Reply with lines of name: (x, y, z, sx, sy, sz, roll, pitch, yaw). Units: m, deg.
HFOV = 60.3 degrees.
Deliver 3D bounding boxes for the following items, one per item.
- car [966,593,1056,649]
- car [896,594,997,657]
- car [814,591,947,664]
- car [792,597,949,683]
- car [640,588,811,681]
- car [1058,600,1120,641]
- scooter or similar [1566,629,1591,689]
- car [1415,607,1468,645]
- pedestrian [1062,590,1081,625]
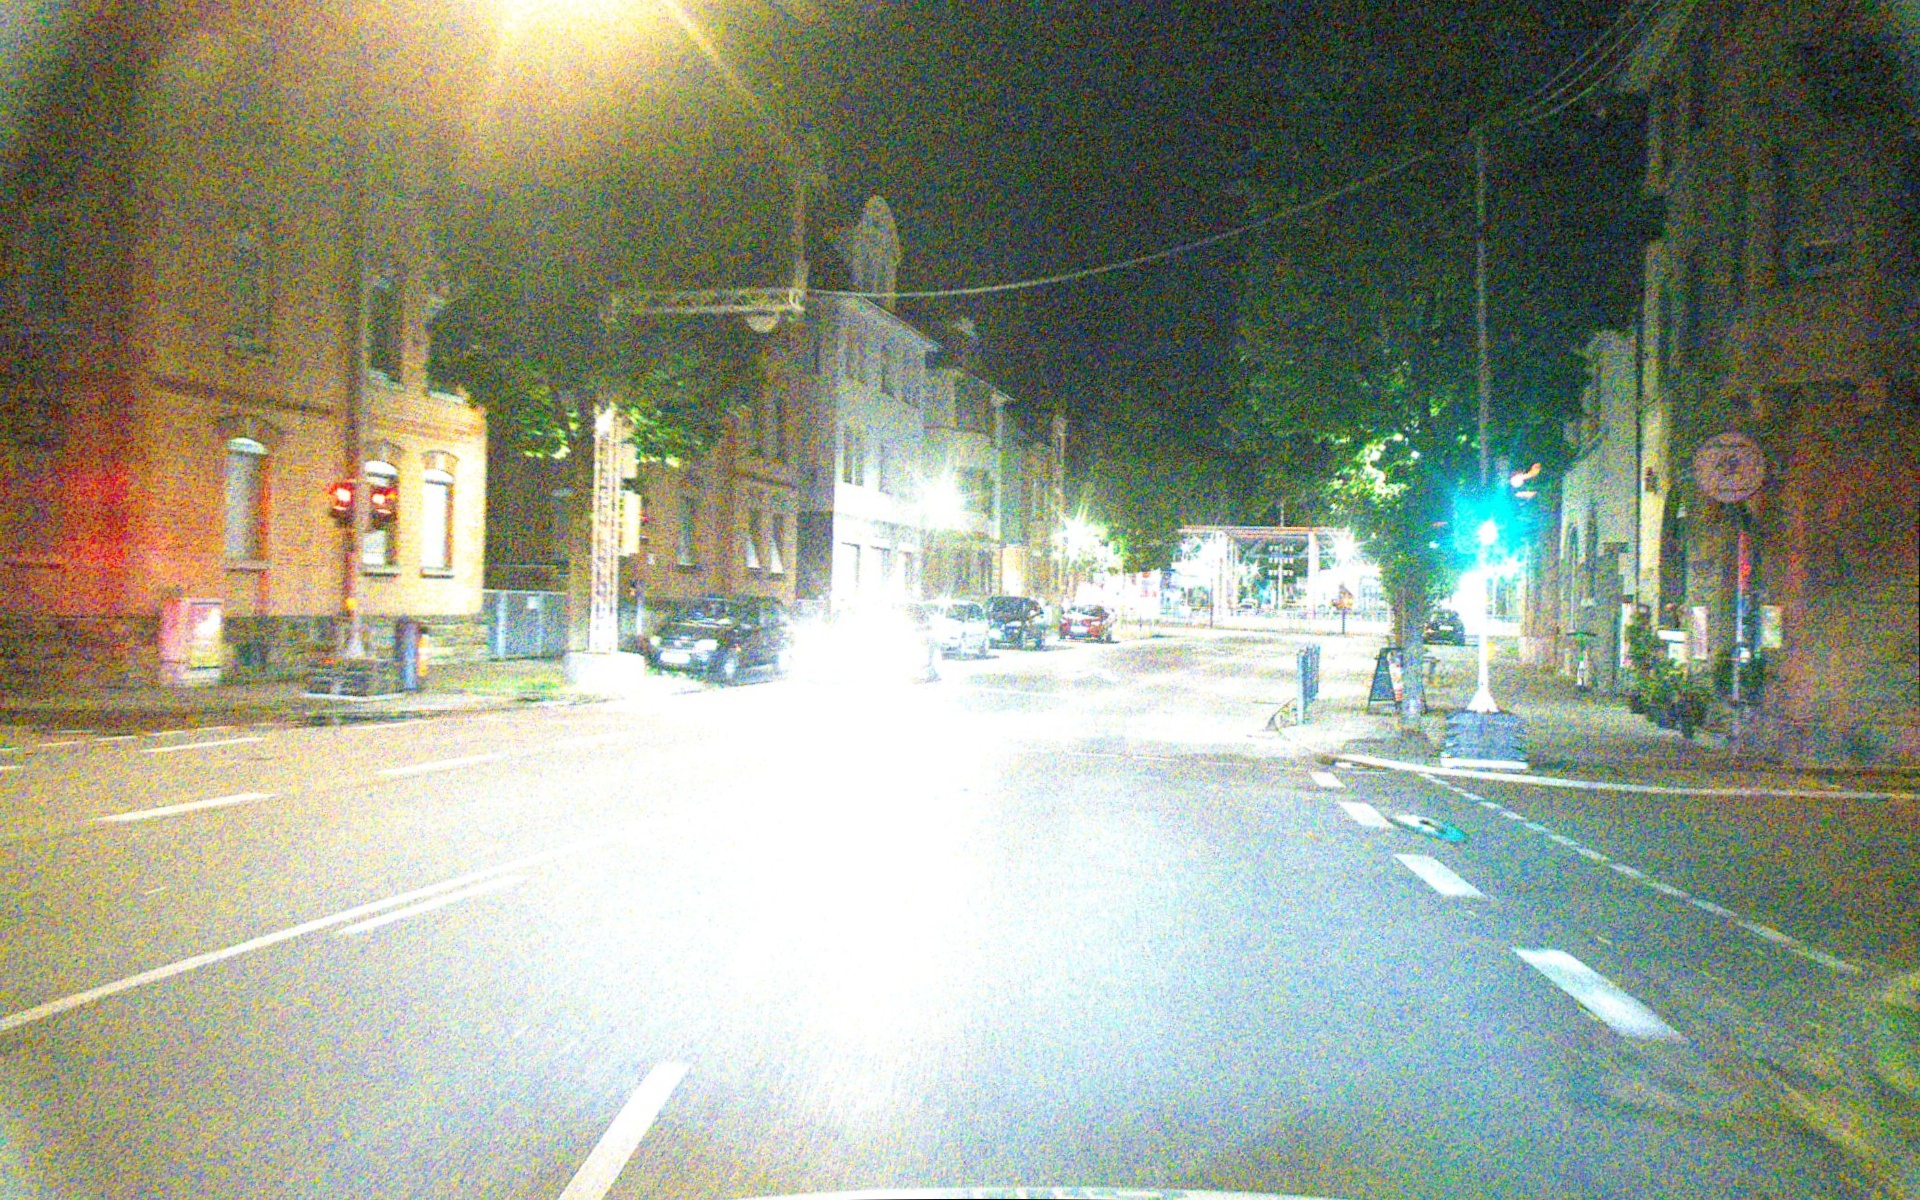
car: (1.677, 0.644, 52.969, 1.747, 1.609, 4.414, 4, 1, 16)
car: (-0.315, 0.663, 44.937, 1.747, 1.517, 4.003, 4, 1, 14)
car: (-1.834, 0.629, 39.785, 1.747, 1.517, 4.332, 4, 1, 17)
car: (-1.550, 0.689, 30.127, 1.679, 1.454, 4.003, 0, 0, 15)
car: (-4.296, 0.617, 30.848, 1.560, 1.517, 3.700, 4, 1, 19)
car: (5.091, 0.774, 65.003, 1.747, 1.440, 4.130, 3, 1, 14)
scooter or similar: (12.440, 1.179, 33.248, 0.413, 1.150, 1.493, 1, 0, 23)
car: (20.301, 1.050, 69.818, 1.697, 1.485, 4.731, 2, 0, 11)
pedestrian: (6.104, 0.417, 90.343, 0.716, 1.853, 0.685, 4, -1, -31)
